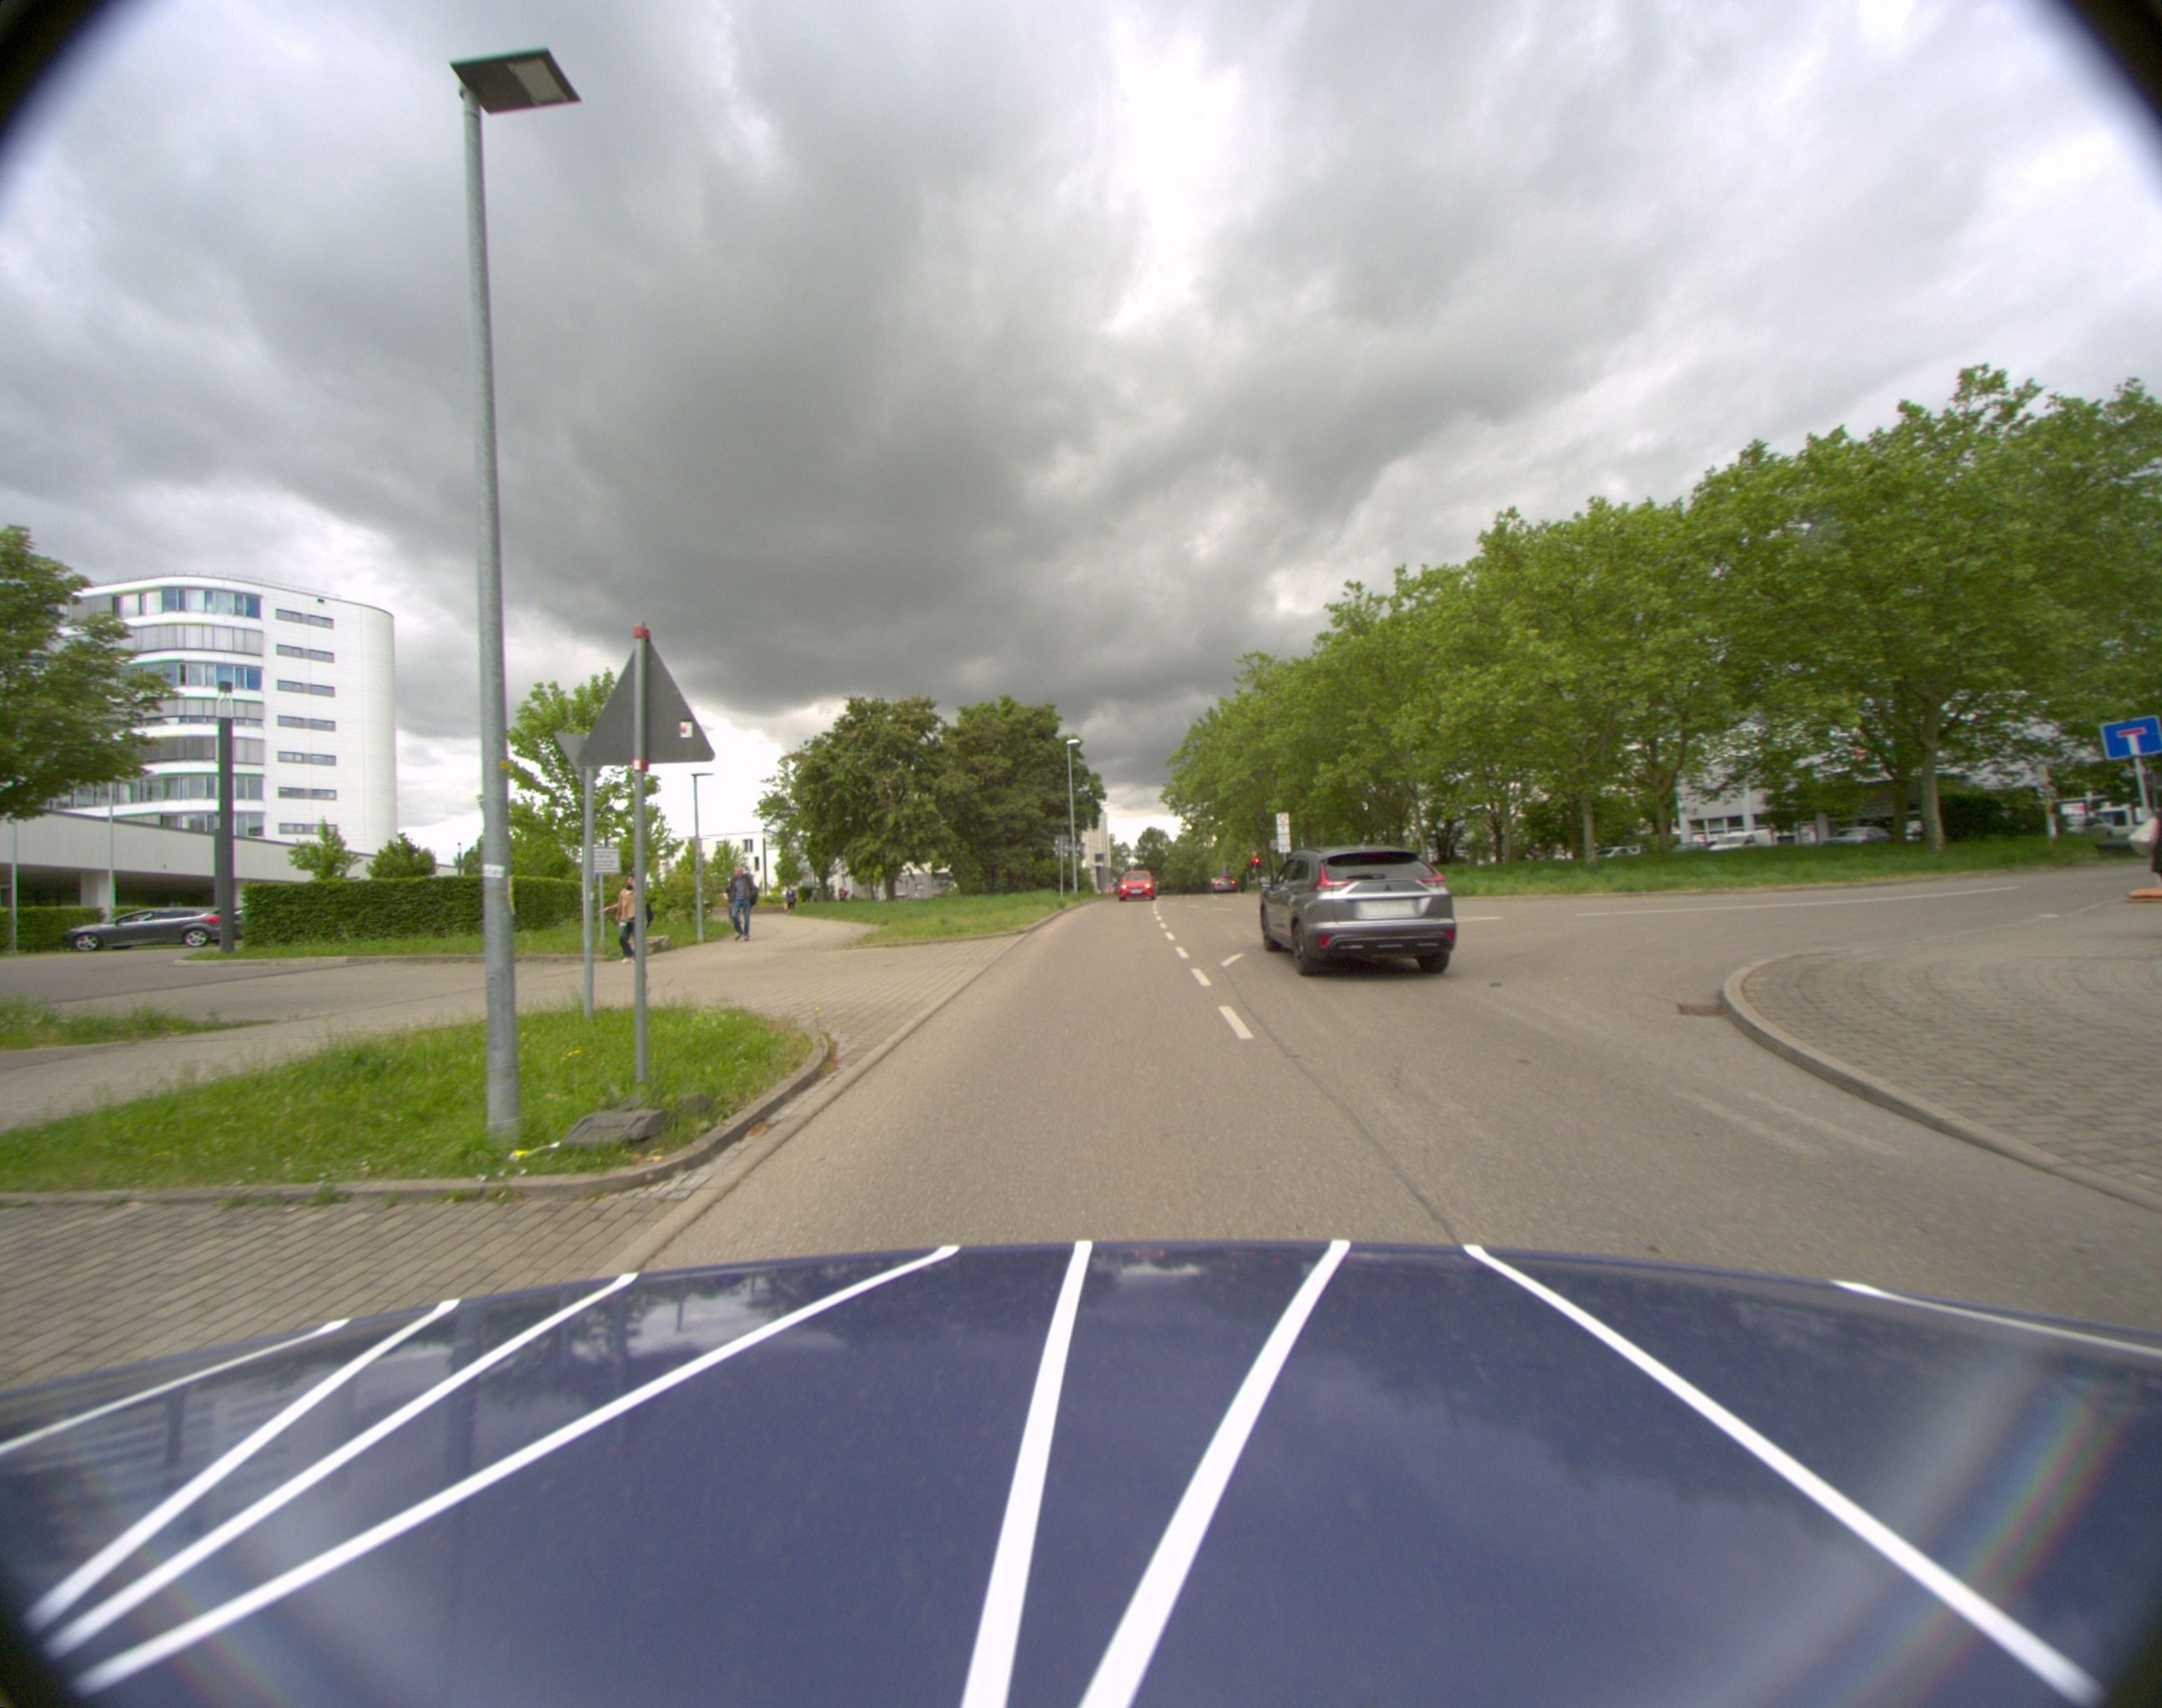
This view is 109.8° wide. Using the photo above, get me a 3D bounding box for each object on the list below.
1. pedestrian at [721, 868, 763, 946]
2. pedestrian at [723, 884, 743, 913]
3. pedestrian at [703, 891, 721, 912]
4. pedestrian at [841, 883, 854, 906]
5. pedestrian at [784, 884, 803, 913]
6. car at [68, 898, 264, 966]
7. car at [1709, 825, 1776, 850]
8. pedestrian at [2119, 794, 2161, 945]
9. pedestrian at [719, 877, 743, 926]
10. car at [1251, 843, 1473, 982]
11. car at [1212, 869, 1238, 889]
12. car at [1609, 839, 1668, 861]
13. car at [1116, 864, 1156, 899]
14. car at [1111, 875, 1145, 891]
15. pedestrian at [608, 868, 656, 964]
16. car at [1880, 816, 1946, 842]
[{"bbox_3d":[-7.842,1.214,17.563,0.764,1.712,0.885,-3,0,-28],"label":"pedestrian"},{"bbox_3d":[-18.276,2.330,39.889,0.675,1.498,0.667,-3,0,-3],"label":"pedestrian"},{"bbox_3d":[-21.150,2.715,43.566,0.675,1.134,0.667,-3,0,-3],"label":"pedestrian"},{"bbox_3d":[-14.950,2.599,48.609,0.676,1.406,0.666,-3,0,-20],"label":"pedestrian"},{"bbox_3d":[-16.047,2.476,42.397,0.675,1.597,0.668,-3,0,14],"label":"pedestrian"},{"bbox_3d":[-33.045,2.766,27.621,4.004,2.001,1.996,-3,-1,-25],"label":"car"},{"bbox_3d":[42.731,-1.068,49.049,4.004,1.455,1.651,-3,-1,-24],"label":"car"},{"bbox_3d":[11.822,0.147,8.120,0.635,1.600,0.718,-1,-3,-40],"label":"pedestrian"},{"bbox_3d":[-12.207,1.652,26.507,0.639,1.634,0.603,-3,0,-28],"label":"pedestrian"},{"bbox_3d":[3.647,0.711,10.724,1.900,1.573,4.170,0,-1,5],"label":"car"},{"bbox_3d":[12.292,2.096,65.114,1.758,1.506,4.002,-3,-1,6],"label":"car"},{"bbox_3d":[41.016,-0.293,55.907,4.004,1.455,1.651,-3,-1,-24],"label":"car"},{"bbox_3d":[2.758,1.305,37.400,1.758,1.506,4.002,-3,-1,6],"label":"car"},{"bbox_3d":[5.209,3.209,84.409,3.653,1.521,1.630,-3,0,6],"label":"car"},{"bbox_3d":[-8.219,1.115,13.926,0.653,1.659,0.896,-3,0,-30],"label":"pedestrian"},{"bbox_3d":[53.729,-1.599,49.080,4.004,1.455,1.651,-3,-1,-24],"label":"car"}]
